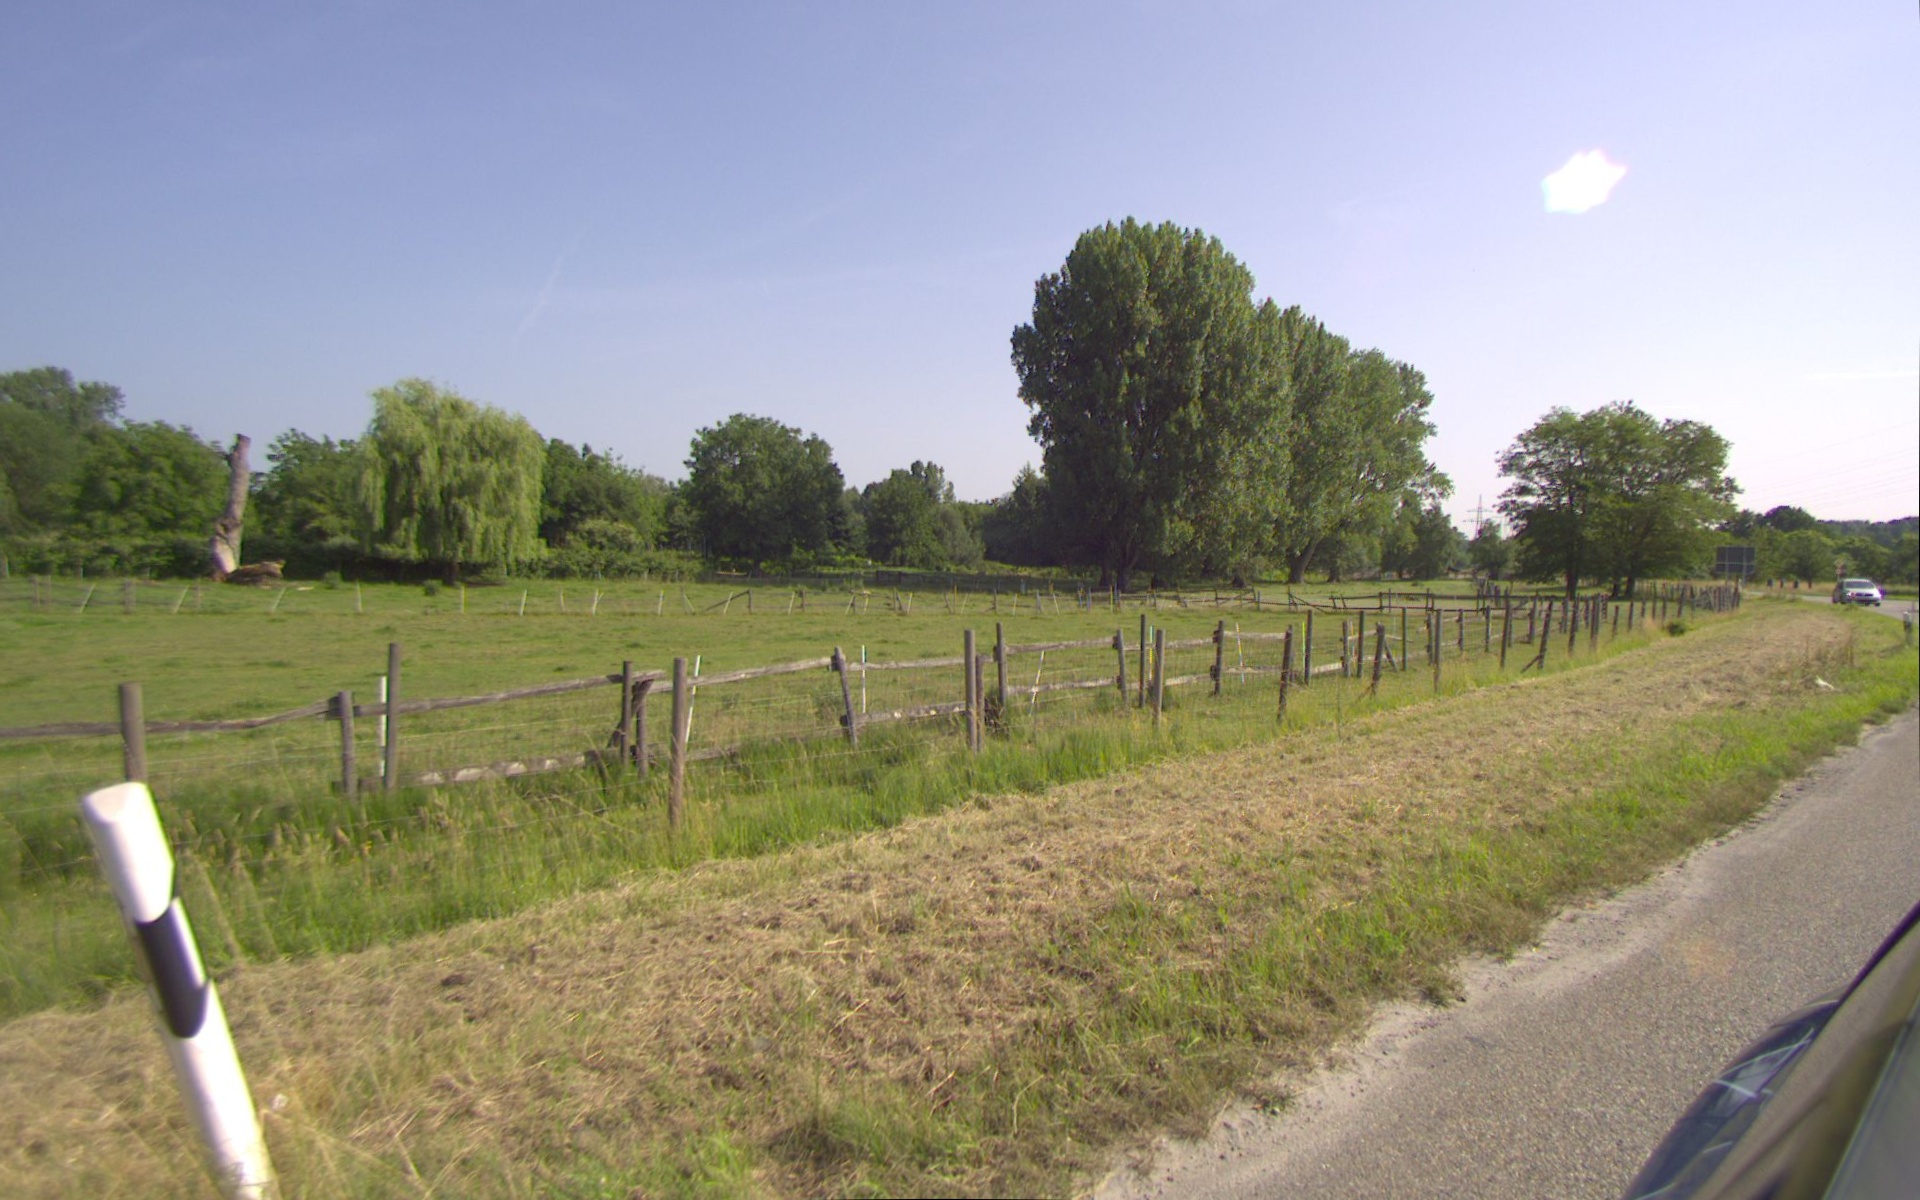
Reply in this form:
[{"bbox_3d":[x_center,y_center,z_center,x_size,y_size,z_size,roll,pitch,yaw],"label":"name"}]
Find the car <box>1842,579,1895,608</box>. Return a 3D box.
[{"bbox_3d":[53.204,-0.437,59.338,1.989,1.599,3.856,2,2,38],"label":"car"}]
